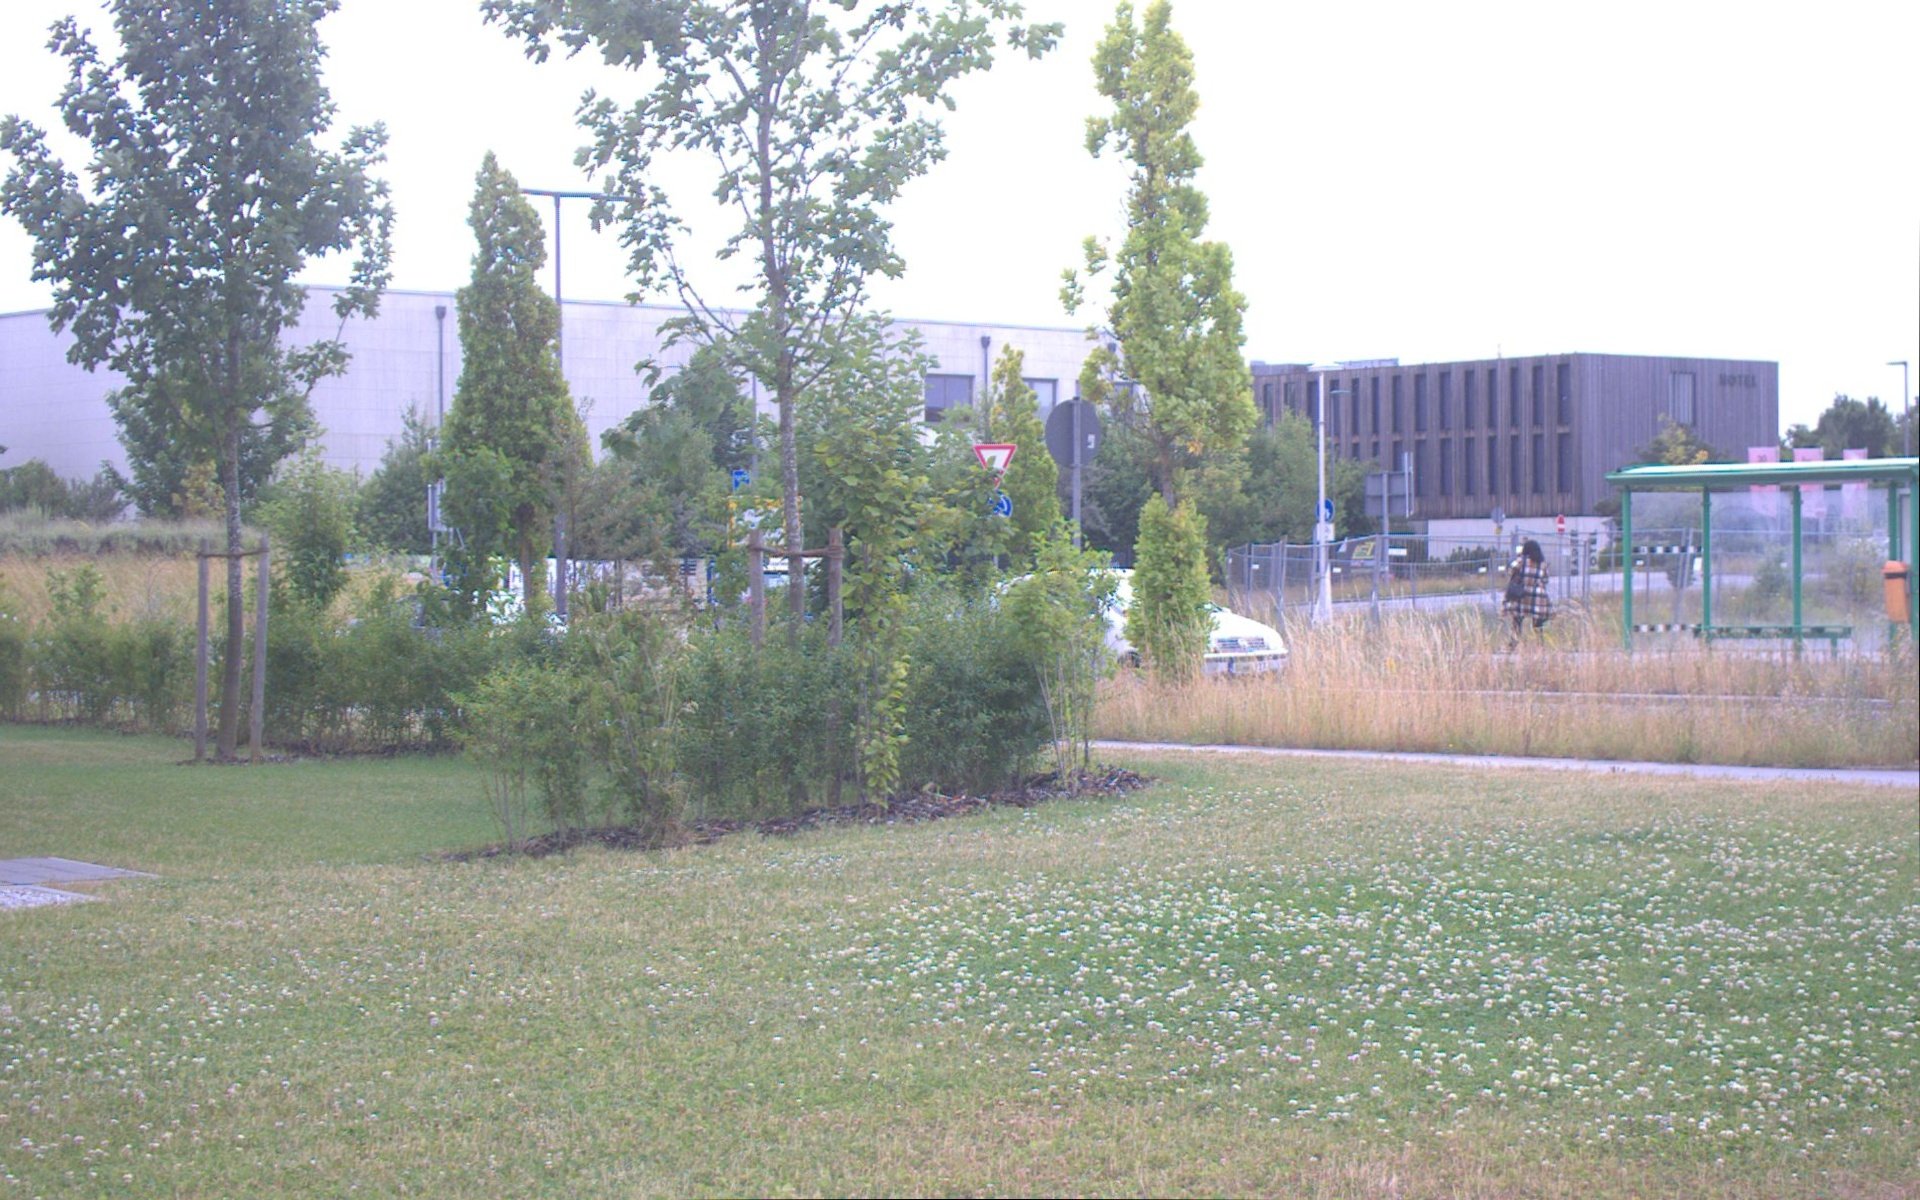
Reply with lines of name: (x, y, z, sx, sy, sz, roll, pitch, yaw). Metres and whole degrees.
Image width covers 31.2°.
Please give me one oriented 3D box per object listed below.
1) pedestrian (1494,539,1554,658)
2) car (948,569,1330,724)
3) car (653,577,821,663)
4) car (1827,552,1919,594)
pedestrian: (8.211, -0.023, 50.096, 0.741, 1.716, 0.651, 0, 1, -1)
car: (1.751, 0.422, 34.619, 1.795, 1.456, 3.815, -1, 1, -38)
car: (-3.826, 0.318, 58.397, 1.712, 1.338, 3.965, 0, 1, -22)
car: (33.464, -1.008, 125.729, 3.632, 1.481, 1.680, -1, 2, -42)
